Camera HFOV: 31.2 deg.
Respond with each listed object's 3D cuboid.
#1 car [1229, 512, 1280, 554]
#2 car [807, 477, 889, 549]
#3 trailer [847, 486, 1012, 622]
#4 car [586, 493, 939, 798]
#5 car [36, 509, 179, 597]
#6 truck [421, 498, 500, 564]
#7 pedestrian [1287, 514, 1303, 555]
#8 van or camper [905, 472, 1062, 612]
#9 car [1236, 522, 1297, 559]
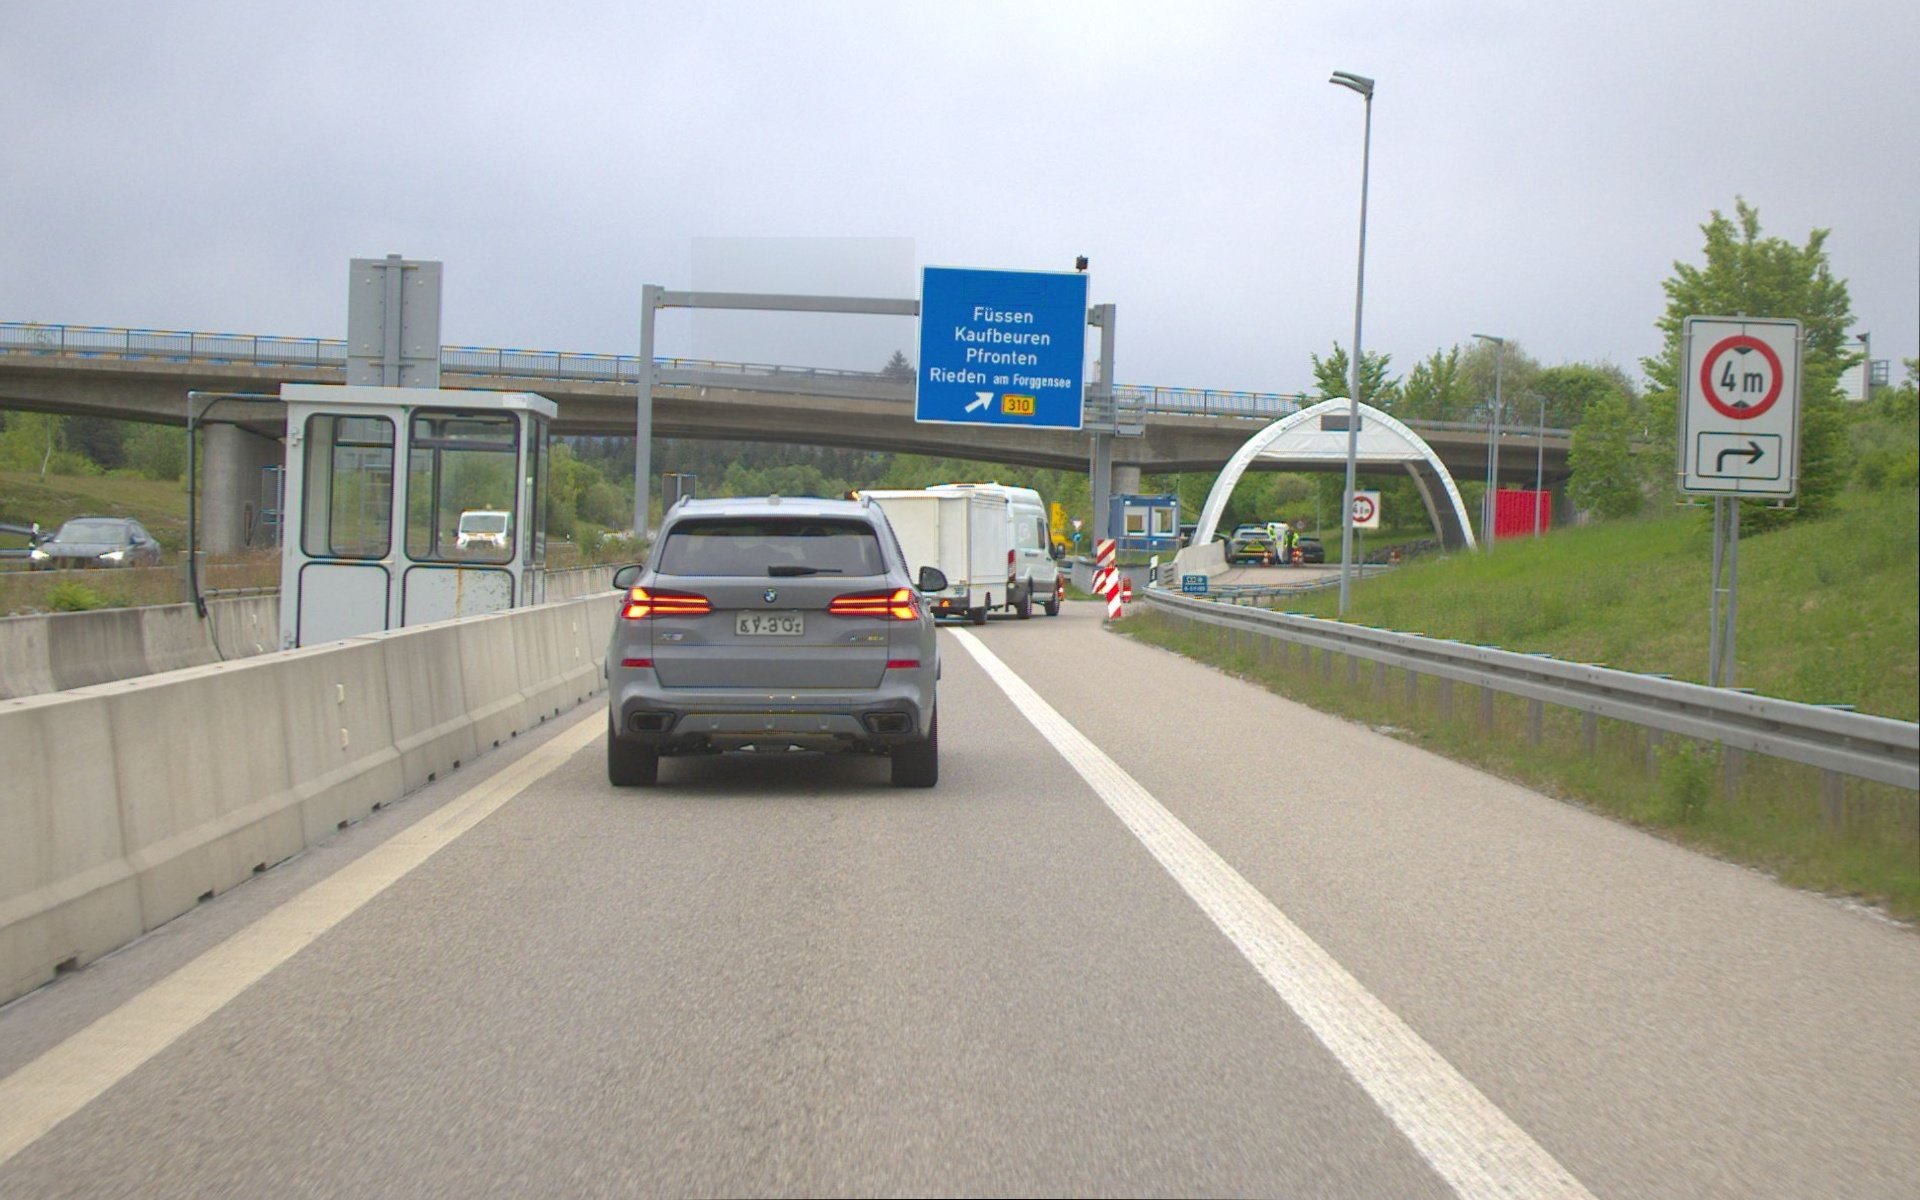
[{"bbox_3d":[12.495,-2.841,146.192,1.994,1.766,3.765,0,1,3],"label":"car"},{"bbox_3d":[-3.290,-2.533,99.743,2.286,2.006,5.051,1,2,-3],"label":"car"},{"bbox_3d":[-0.505,-0.856,65.000,2.279,2.422,6.816,1,1,7],"label":"trailer"},{"bbox_3d":[-1.165,0.224,21.577,1.993,1.713,4.000,1,1,-1],"label":"car"},{"bbox_3d":[-16.073,-0.898,64.969,1.702,1.569,4.177,2,1,-1],"label":"car"},{"bbox_3d":[-19.632,-2.713,135.359,2.356,2.471,5.989,1,1,-2],"label":"truck"},{"bbox_3d":[14.545,-2.863,149.377,0.648,1.769,0.606,0,1,1],"label":"pedestrian"},{"bbox_3d":[0.557,-1.184,71.311,2.158,2.754,5.868,1,1,11],"label":"van or camper"},{"bbox_3d":[16.708,-3.259,187.796,1.993,2.007,4.001,0,1,-16],"label":"car"}]
